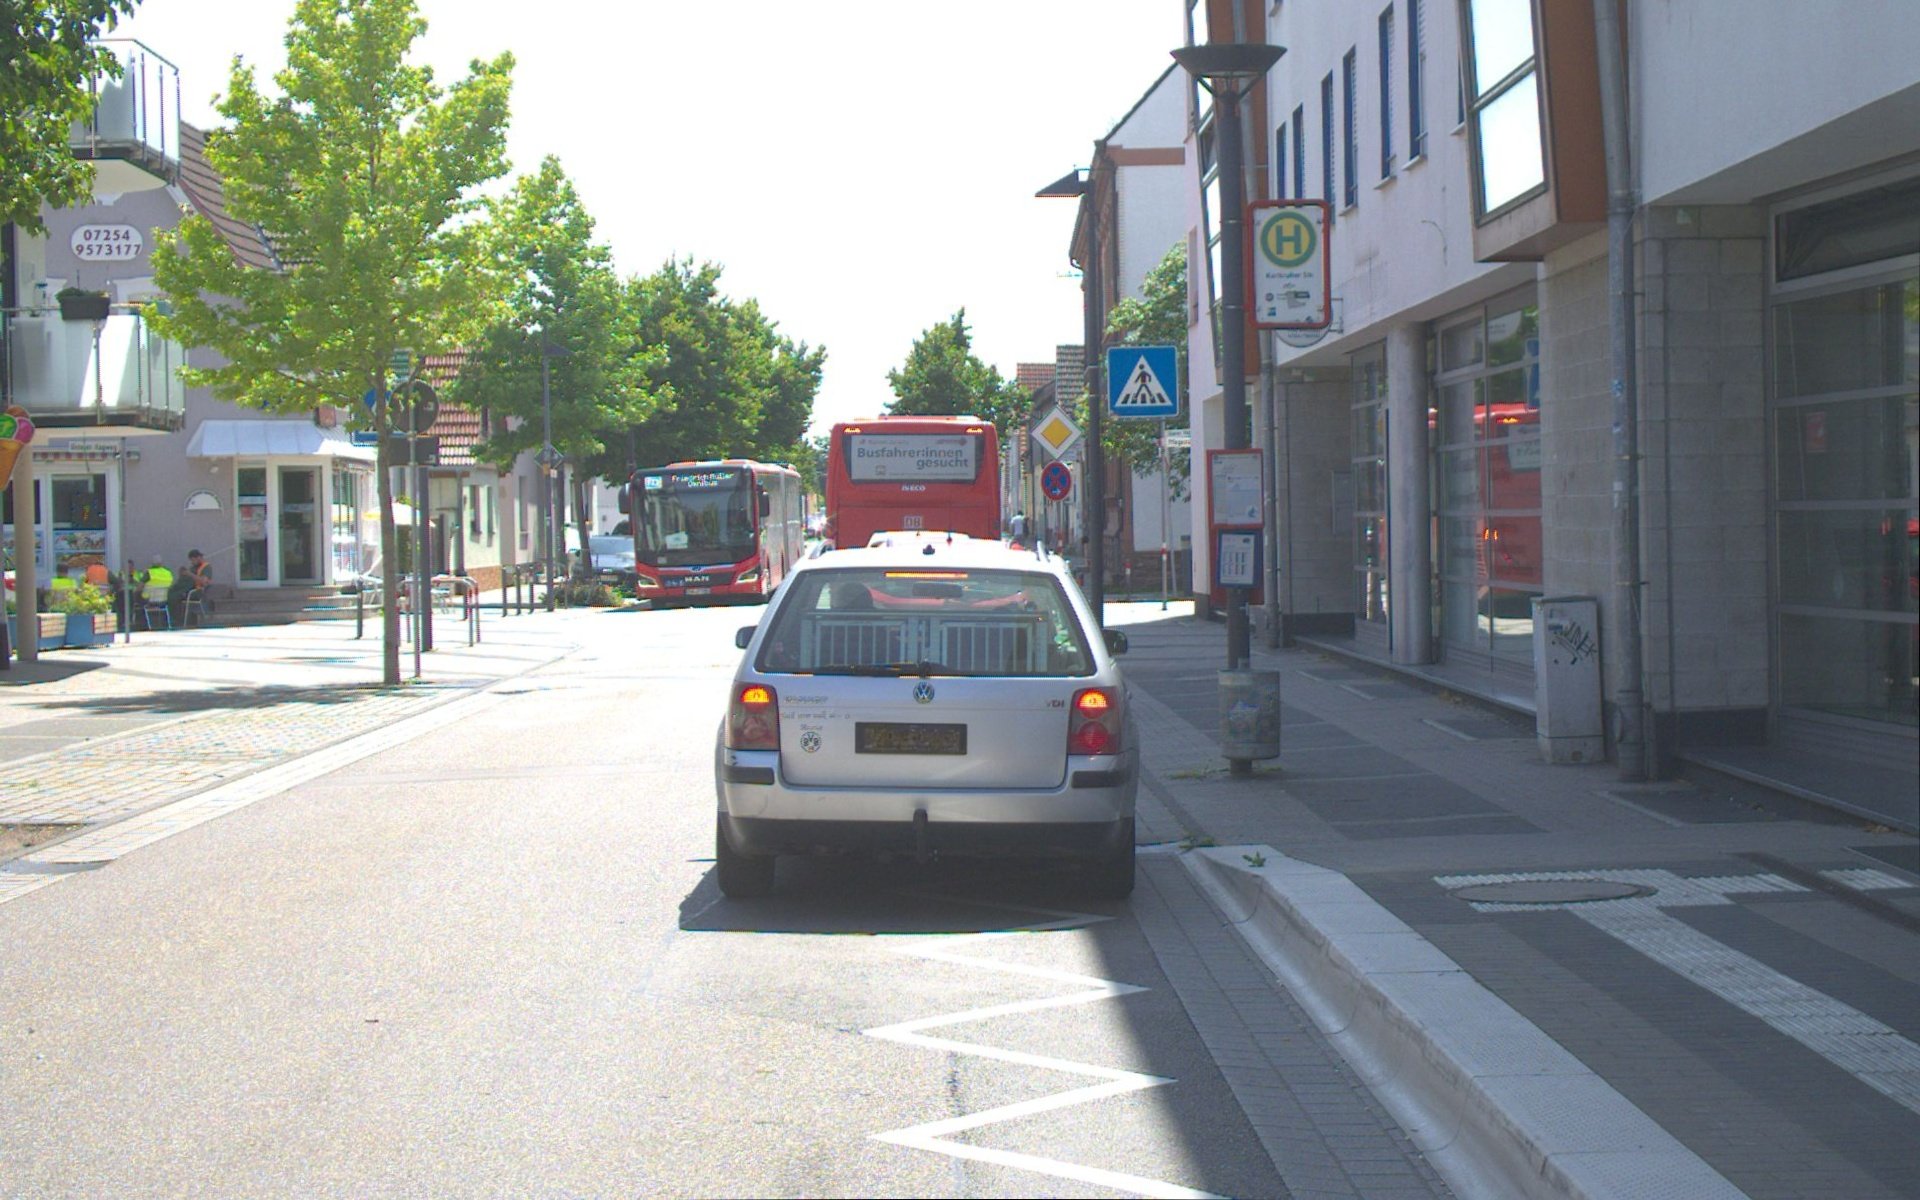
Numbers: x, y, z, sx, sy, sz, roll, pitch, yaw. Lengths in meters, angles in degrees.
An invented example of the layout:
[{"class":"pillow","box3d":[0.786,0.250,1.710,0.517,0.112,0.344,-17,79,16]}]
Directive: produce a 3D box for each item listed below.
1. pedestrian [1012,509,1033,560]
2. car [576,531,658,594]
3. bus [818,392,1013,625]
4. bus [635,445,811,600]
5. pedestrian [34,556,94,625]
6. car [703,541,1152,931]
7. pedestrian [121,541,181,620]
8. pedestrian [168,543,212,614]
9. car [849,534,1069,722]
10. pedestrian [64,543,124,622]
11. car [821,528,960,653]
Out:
[{"class":"pedestrian","box3d":[2.052,-2.163,113.159,0.606,1.661,0.789,-1,1,-2]},{"class":"car","box3d":[-8.174,-0.911,82.174,1.605,1.433,4.065,-1,1,-1]},{"class":"bus","box3d":[-0.888,-1.416,55.039,2.740,3.287,12.707,0,1,-2]},{"class":"bus","box3d":[-5.142,-1.777,77.824,2.669,3.113,17.808,0,1,0]},{"class":"pedestrian","box3d":[-14.774,-0.151,56.661,0.634,1.112,0.789,1,1,-44]},{"class":"car","box3d":[-0.156,0.489,14.996,1.677,1.425,3.680,2,1,-1]},{"class":"pedestrian","box3d":[-13.511,-0.326,57.435,0.634,1.284,0.789,1,1,-44]},{"class":"pedestrian","box3d":[-13.111,-0.369,58.571,0.622,1.175,0.697,-1,1,-5]},{"class":"car","box3d":[-0.038,0.179,28.250,1.677,1.425,3.680,0,1,-1]},{"class":"pedestrian","box3d":[-14.518,-0.295,57.645,0.634,1.284,0.789,1,1,-44]},{"class":"car","box3d":[-0.808,-0.149,41.619,1.593,1.425,3.680,0,1,0]}]
